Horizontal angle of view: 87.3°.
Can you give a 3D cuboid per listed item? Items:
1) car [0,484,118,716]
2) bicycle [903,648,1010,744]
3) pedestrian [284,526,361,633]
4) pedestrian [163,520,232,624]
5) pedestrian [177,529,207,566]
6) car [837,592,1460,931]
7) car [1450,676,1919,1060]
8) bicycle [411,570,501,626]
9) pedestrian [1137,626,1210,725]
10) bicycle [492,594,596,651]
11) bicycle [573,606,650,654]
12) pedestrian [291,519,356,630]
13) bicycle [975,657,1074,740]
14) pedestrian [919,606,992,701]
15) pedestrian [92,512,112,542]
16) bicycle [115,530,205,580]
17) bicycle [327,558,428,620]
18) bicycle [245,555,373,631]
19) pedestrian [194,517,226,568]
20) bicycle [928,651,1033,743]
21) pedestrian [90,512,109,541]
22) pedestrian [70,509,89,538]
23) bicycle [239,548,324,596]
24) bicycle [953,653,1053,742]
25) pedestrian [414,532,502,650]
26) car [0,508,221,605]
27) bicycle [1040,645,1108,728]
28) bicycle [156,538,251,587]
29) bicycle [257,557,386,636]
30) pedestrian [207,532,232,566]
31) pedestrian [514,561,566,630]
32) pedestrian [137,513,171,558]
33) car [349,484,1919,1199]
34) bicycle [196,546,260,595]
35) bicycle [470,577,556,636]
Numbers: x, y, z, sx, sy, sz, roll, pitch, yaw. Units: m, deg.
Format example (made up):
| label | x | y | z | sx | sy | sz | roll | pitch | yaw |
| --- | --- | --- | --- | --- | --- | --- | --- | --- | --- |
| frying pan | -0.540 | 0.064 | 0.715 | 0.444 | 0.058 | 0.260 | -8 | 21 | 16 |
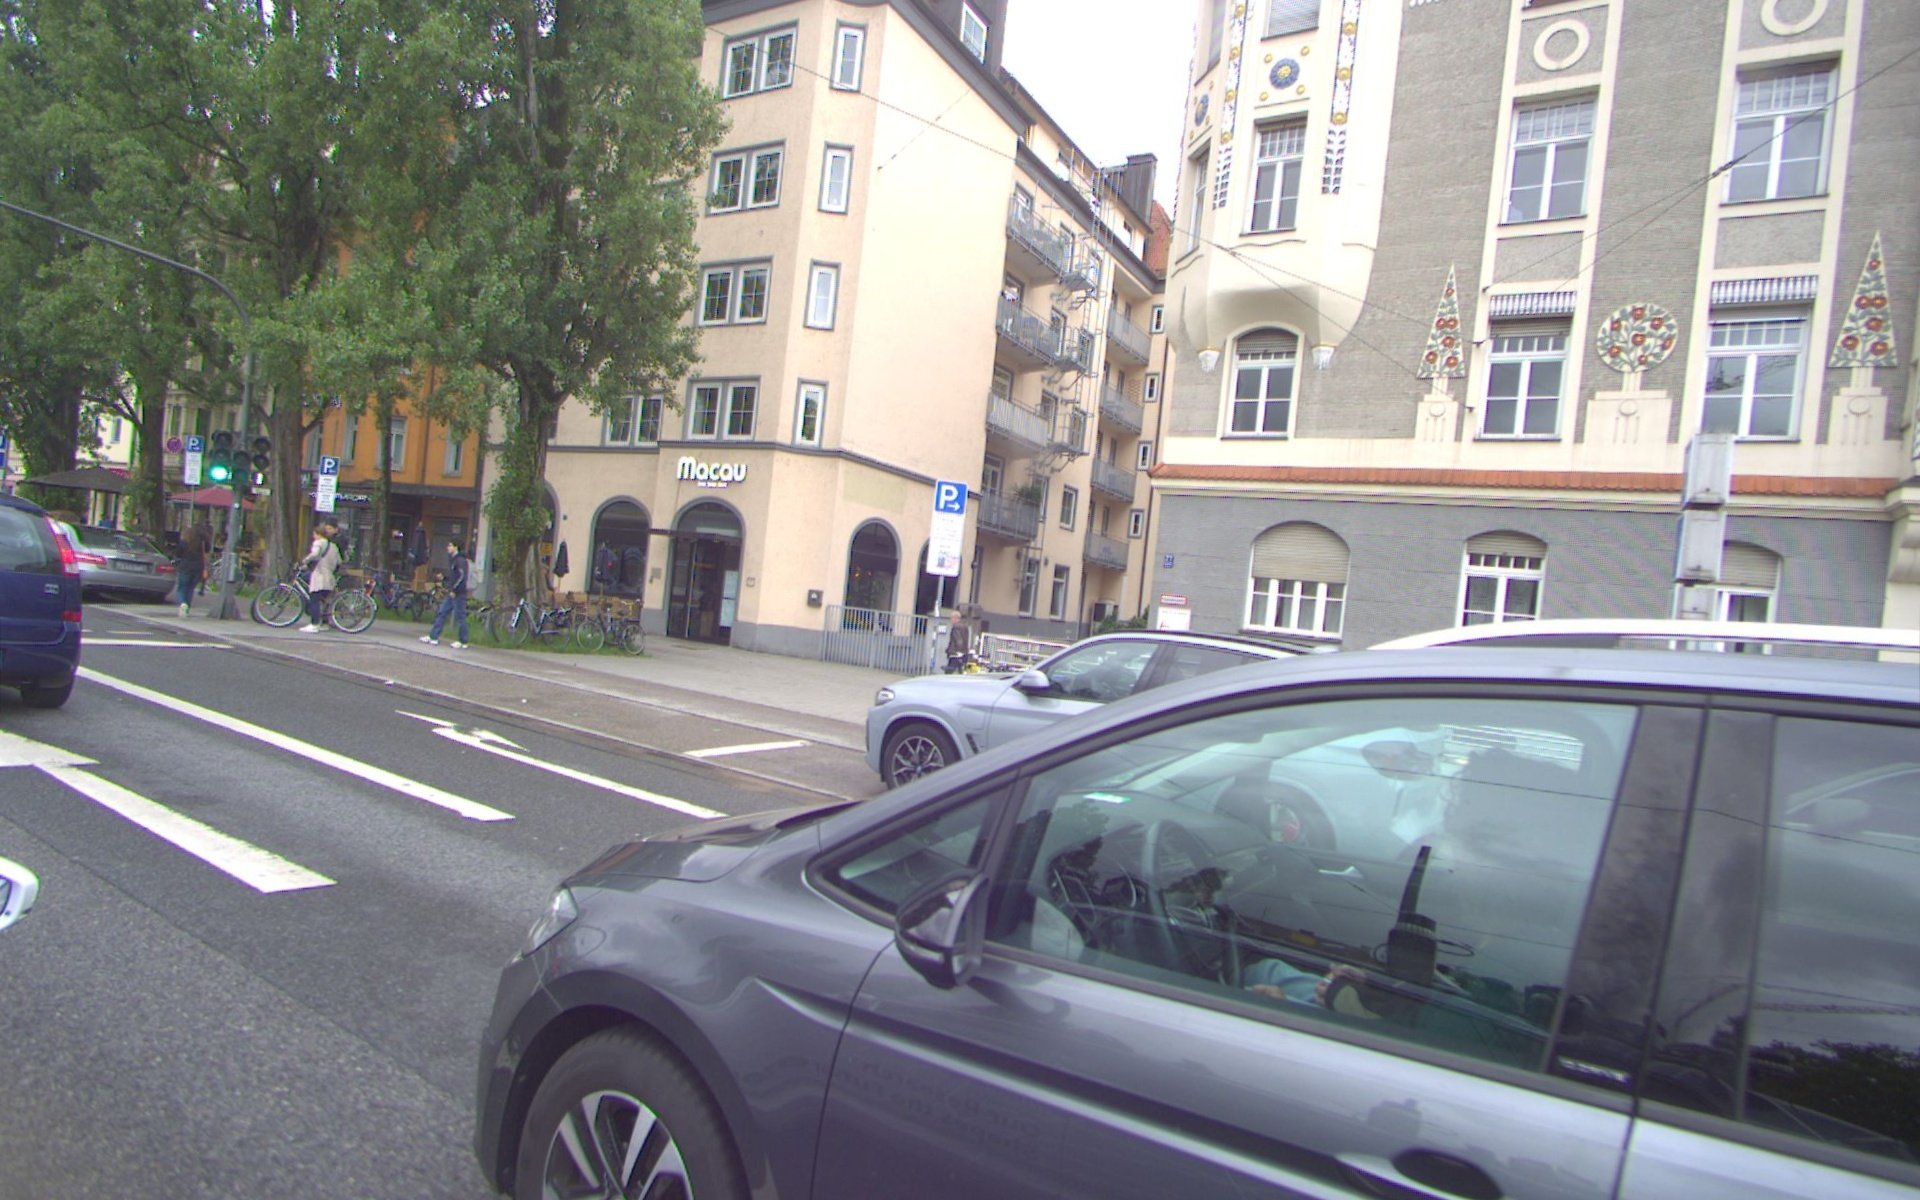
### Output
| label | x | y | z | sx | sy | sz | roll | pitch | yaw |
| --- | --- | --- | --- | --- | --- | --- | --- | --- | --- |
| car | -8.271 | -0.179 | 7.694 | 3.498 | 1.608 | 1.705 | 6 | -1 | 32 |
| bicycle | -0.081 | 1.240 | 13.319 | 0.441 | 1.035 | 1.825 | 6 | -1 | -31 |
| pedestrian | -10.593 | -0.331 | 16.738 | 0.690 | 1.658 | 0.754 | 7 | 1 | -11 |
| pedestrian | -12.444 | -0.468 | 16.432 | 0.756 | 1.582 | 0.754 | 6 | 1 | -38 |
| pedestrian | -27.617 | -1.882 | 36.168 | 0.655 | 1.237 | 0.601 | 6 | 1 | 32 |
| car | 1.371 | 1.020 | 8.007 | 4.427 | 1.682 | 1.734 | 6 | 1 | 31 |
| car | 5.096 | 1.479 | 5.651 | 3.903 | 1.597 | 1.727 | 6 | 1 | 33 |
| bicycle | -11.762 | -0.035 | 23.537 | 0.440 | 1.123 | 1.799 | 7 | -1 | 33 |
| pedestrian | 4.072 | 1.427 | 19.195 | 1.000 | 1.735 | 0.746 | 6 | 1 | 32 |
| bicycle | -7.839 | 0.450 | 19.042 | 0.386 | 0.928 | 1.835 | 6 | -2 | 33 |
| bicycle | -7.103 | 0.630 | 20.571 | 0.385 | 0.845 | 1.575 | 6 | -1 | 29 |
| pedestrian | -10.947 | -0.439 | 17.324 | 0.692 | 1.802 | 0.647 | 7 | 1 | -25 |
| bicycle | 0.920 | 1.436 | 14.886 | 0.388 | 0.990 | 1.825 | 6 | -1 | -31 |
| pedestrian | -0.091 | 1.035 | 19.474 | 1.000 | 1.706 | 0.746 | 6 | 1 | 32 |
| pedestrian | -41.369 | -3.534 | 48.506 | 0.543 | 1.349 | 0.495 | 6 | 1 | 32 |
| bicycle | -23.121 | -1.287 | 29.098 | 0.573 | 1.188 | 1.889 | 6 | 0 | 33 |
| bicycle | -12.688 | -0.220 | 21.980 | 0.440 | 1.122 | 1.800 | 7 | -2 | 33 |
| bicycle | -11.145 | -0.118 | 17.263 | 1.722 | 1.116 | 0.357 | 6 | 1 | -24 |
| pedestrian | -27.391 | -2.103 | 36.734 | 0.655 | 1.761 | 0.601 | 6 | 1 | 32 |
| bicycle | 0.243 | 1.305 | 13.859 | 0.441 | 1.035 | 1.825 | 6 | -1 | -31 |
| pedestrian | -42.065 | -3.599 | 49.192 | 0.543 | 1.305 | 0.495 | 6 | 1 | 32 |
| pedestrian | -42.506 | -3.686 | 48.561 | 0.543 | 1.305 | 0.495 | 6 | 1 | 32 |
| bicycle | -18.697 | -0.764 | 27.764 | 0.450 | 1.127 | 1.891 | 6 | 0 | 29 |
| bicycle | 0.580 | 1.373 | 14.440 | 0.388 | 1.035 | 1.825 | 6 | -1 | -31 |
| pedestrian | -8.422 | -0.145 | 16.885 | 0.745 | 1.822 | 0.880 | 7 | -2 | 40 |
| car | -16.973 | -0.882 | 19.997 | 4.452 | 1.459 | 1.995 | 6 | 1 | 30 |
| bicycle | 1.829 | 1.371 | 16.433 | 0.457 | 1.168 | 1.884 | 6 | -1 | -10 |
| bicycle | -19.623 | -0.952 | 26.146 | 0.450 | 1.067 | 1.891 | 6 | 0 | 29 |
| bicycle | -10.616 | -0.055 | 16.755 | 1.716 | 1.116 | 0.358 | 6 | 1 | -13 |
| pedestrian | -30.720 | -2.125 | 41.750 | 0.573 | 1.296 | 0.583 | 6 | 1 | 31 |
| pedestrian | -10.560 | -0.120 | 25.301 | 0.843 | 1.622 | 0.813 | 5 | 1 | -42 |
| pedestrian | -31.799 | -2.560 | 39.686 | 0.773 | 1.653 | 0.711 | 6 | 1 | 32 |
| car | 1.065 | 0.833 | 1.805 | 4.631 | 1.668 | 1.772 | 6 | 1 | 33 |
| bicycle | -17.250 | -0.698 | 23.697 | 1.626 | 0.977 | 0.589 | 6 | 1 | 32 |
| bicycle | -9.162 | 0.150 | 20.670 | 0.386 | 1.063 | 1.574 | 6 | -1 | 33 |
